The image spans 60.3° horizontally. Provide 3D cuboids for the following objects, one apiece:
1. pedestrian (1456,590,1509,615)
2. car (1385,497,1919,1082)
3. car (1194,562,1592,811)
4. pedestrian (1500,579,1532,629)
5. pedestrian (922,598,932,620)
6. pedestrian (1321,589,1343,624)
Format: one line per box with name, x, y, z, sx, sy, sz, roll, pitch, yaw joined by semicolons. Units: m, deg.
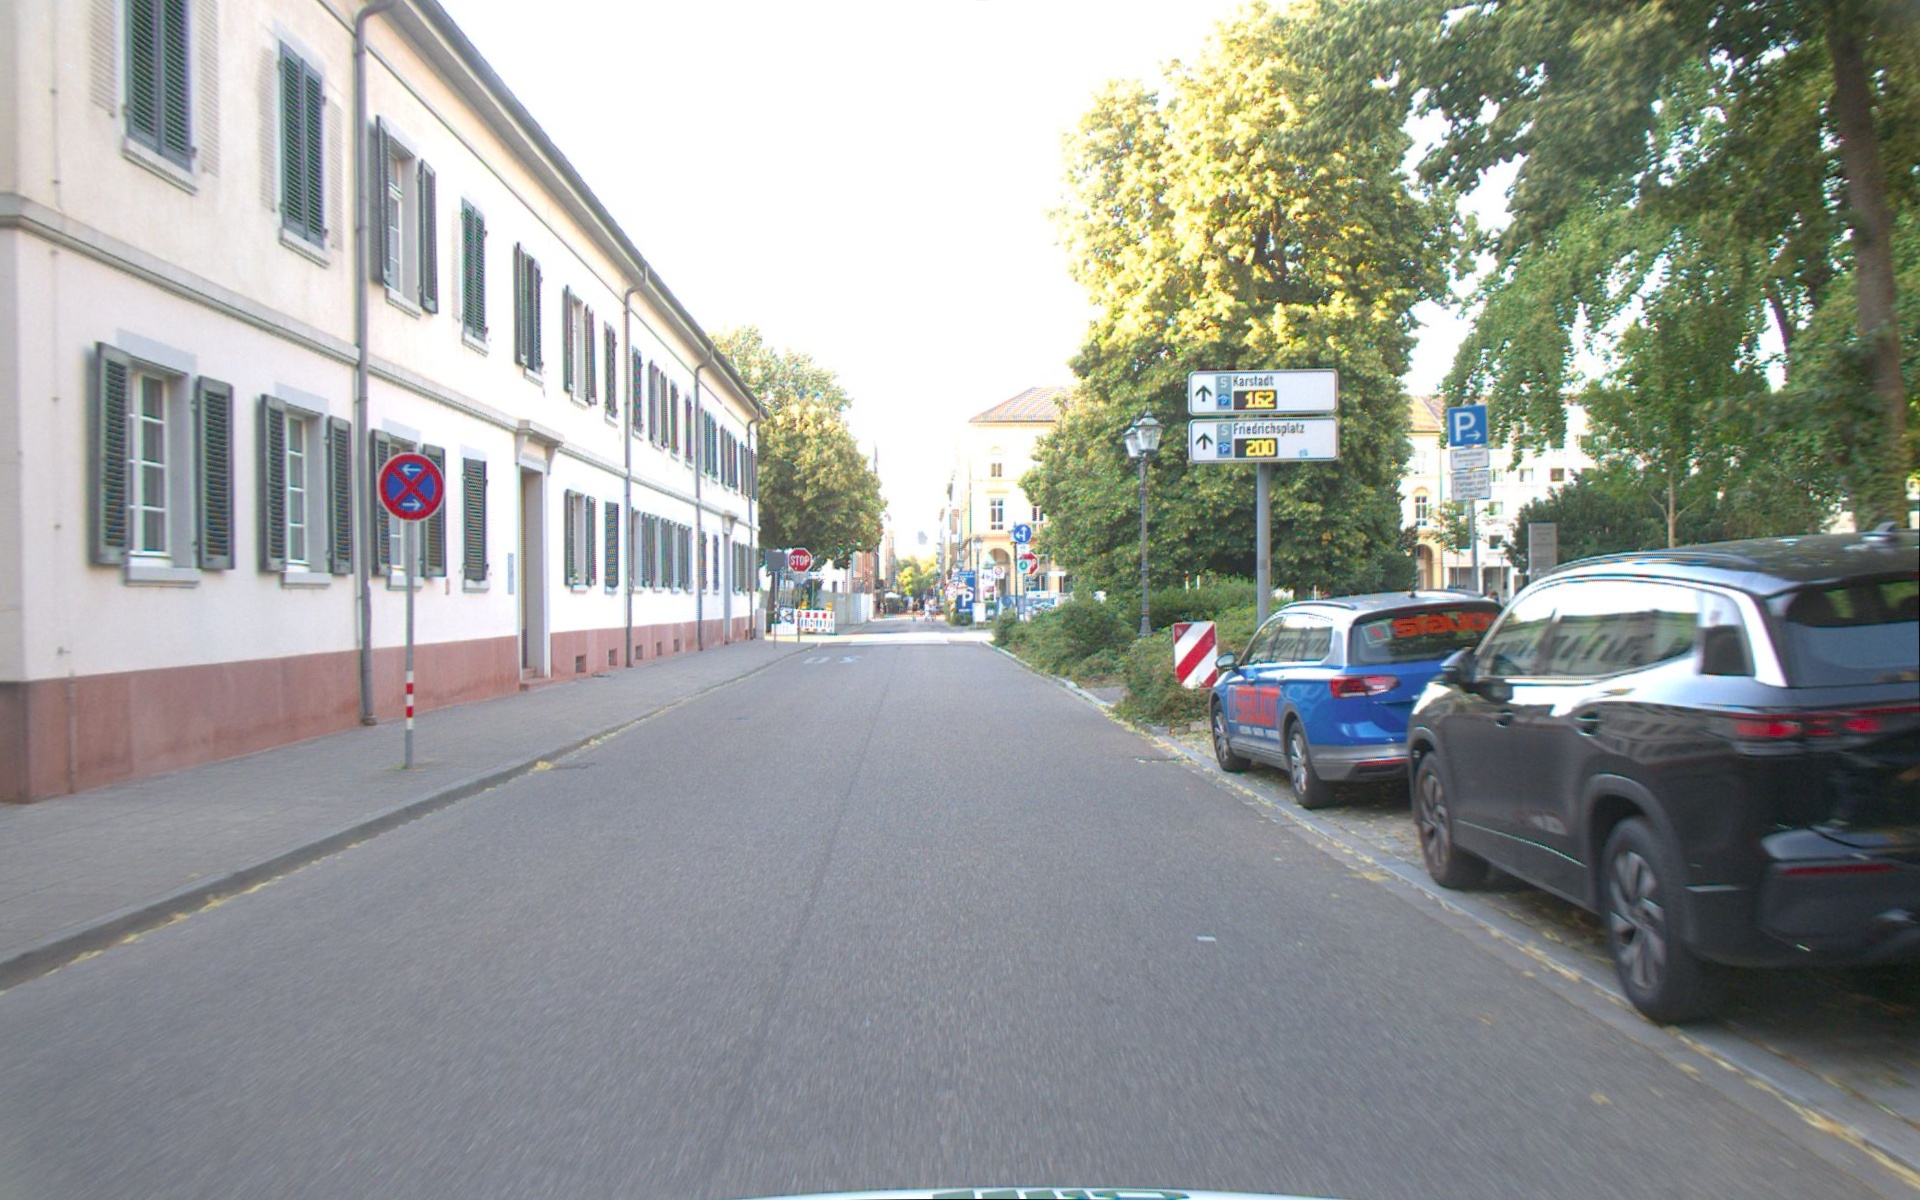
pedestrian;13.120;0.073;41.563;0.532;0.559;1.369;-5;1;-20
car;3.252;0.551;7.138;1.688;1.680;4.714;-2;-1;1
car;3.213;0.571;13.304;1.690;1.514;4.608;-5;0;-3
pedestrian;13.788;0.101;41.004;0.649;1.212;0.794;-1;0;26
pedestrian;-2.450;0.653;122.861;0.644;1.645;0.745;-1;0;-1
pedestrian;14.590;0.252;64.808;0.585;1.365;0.817;-1;0;-7
